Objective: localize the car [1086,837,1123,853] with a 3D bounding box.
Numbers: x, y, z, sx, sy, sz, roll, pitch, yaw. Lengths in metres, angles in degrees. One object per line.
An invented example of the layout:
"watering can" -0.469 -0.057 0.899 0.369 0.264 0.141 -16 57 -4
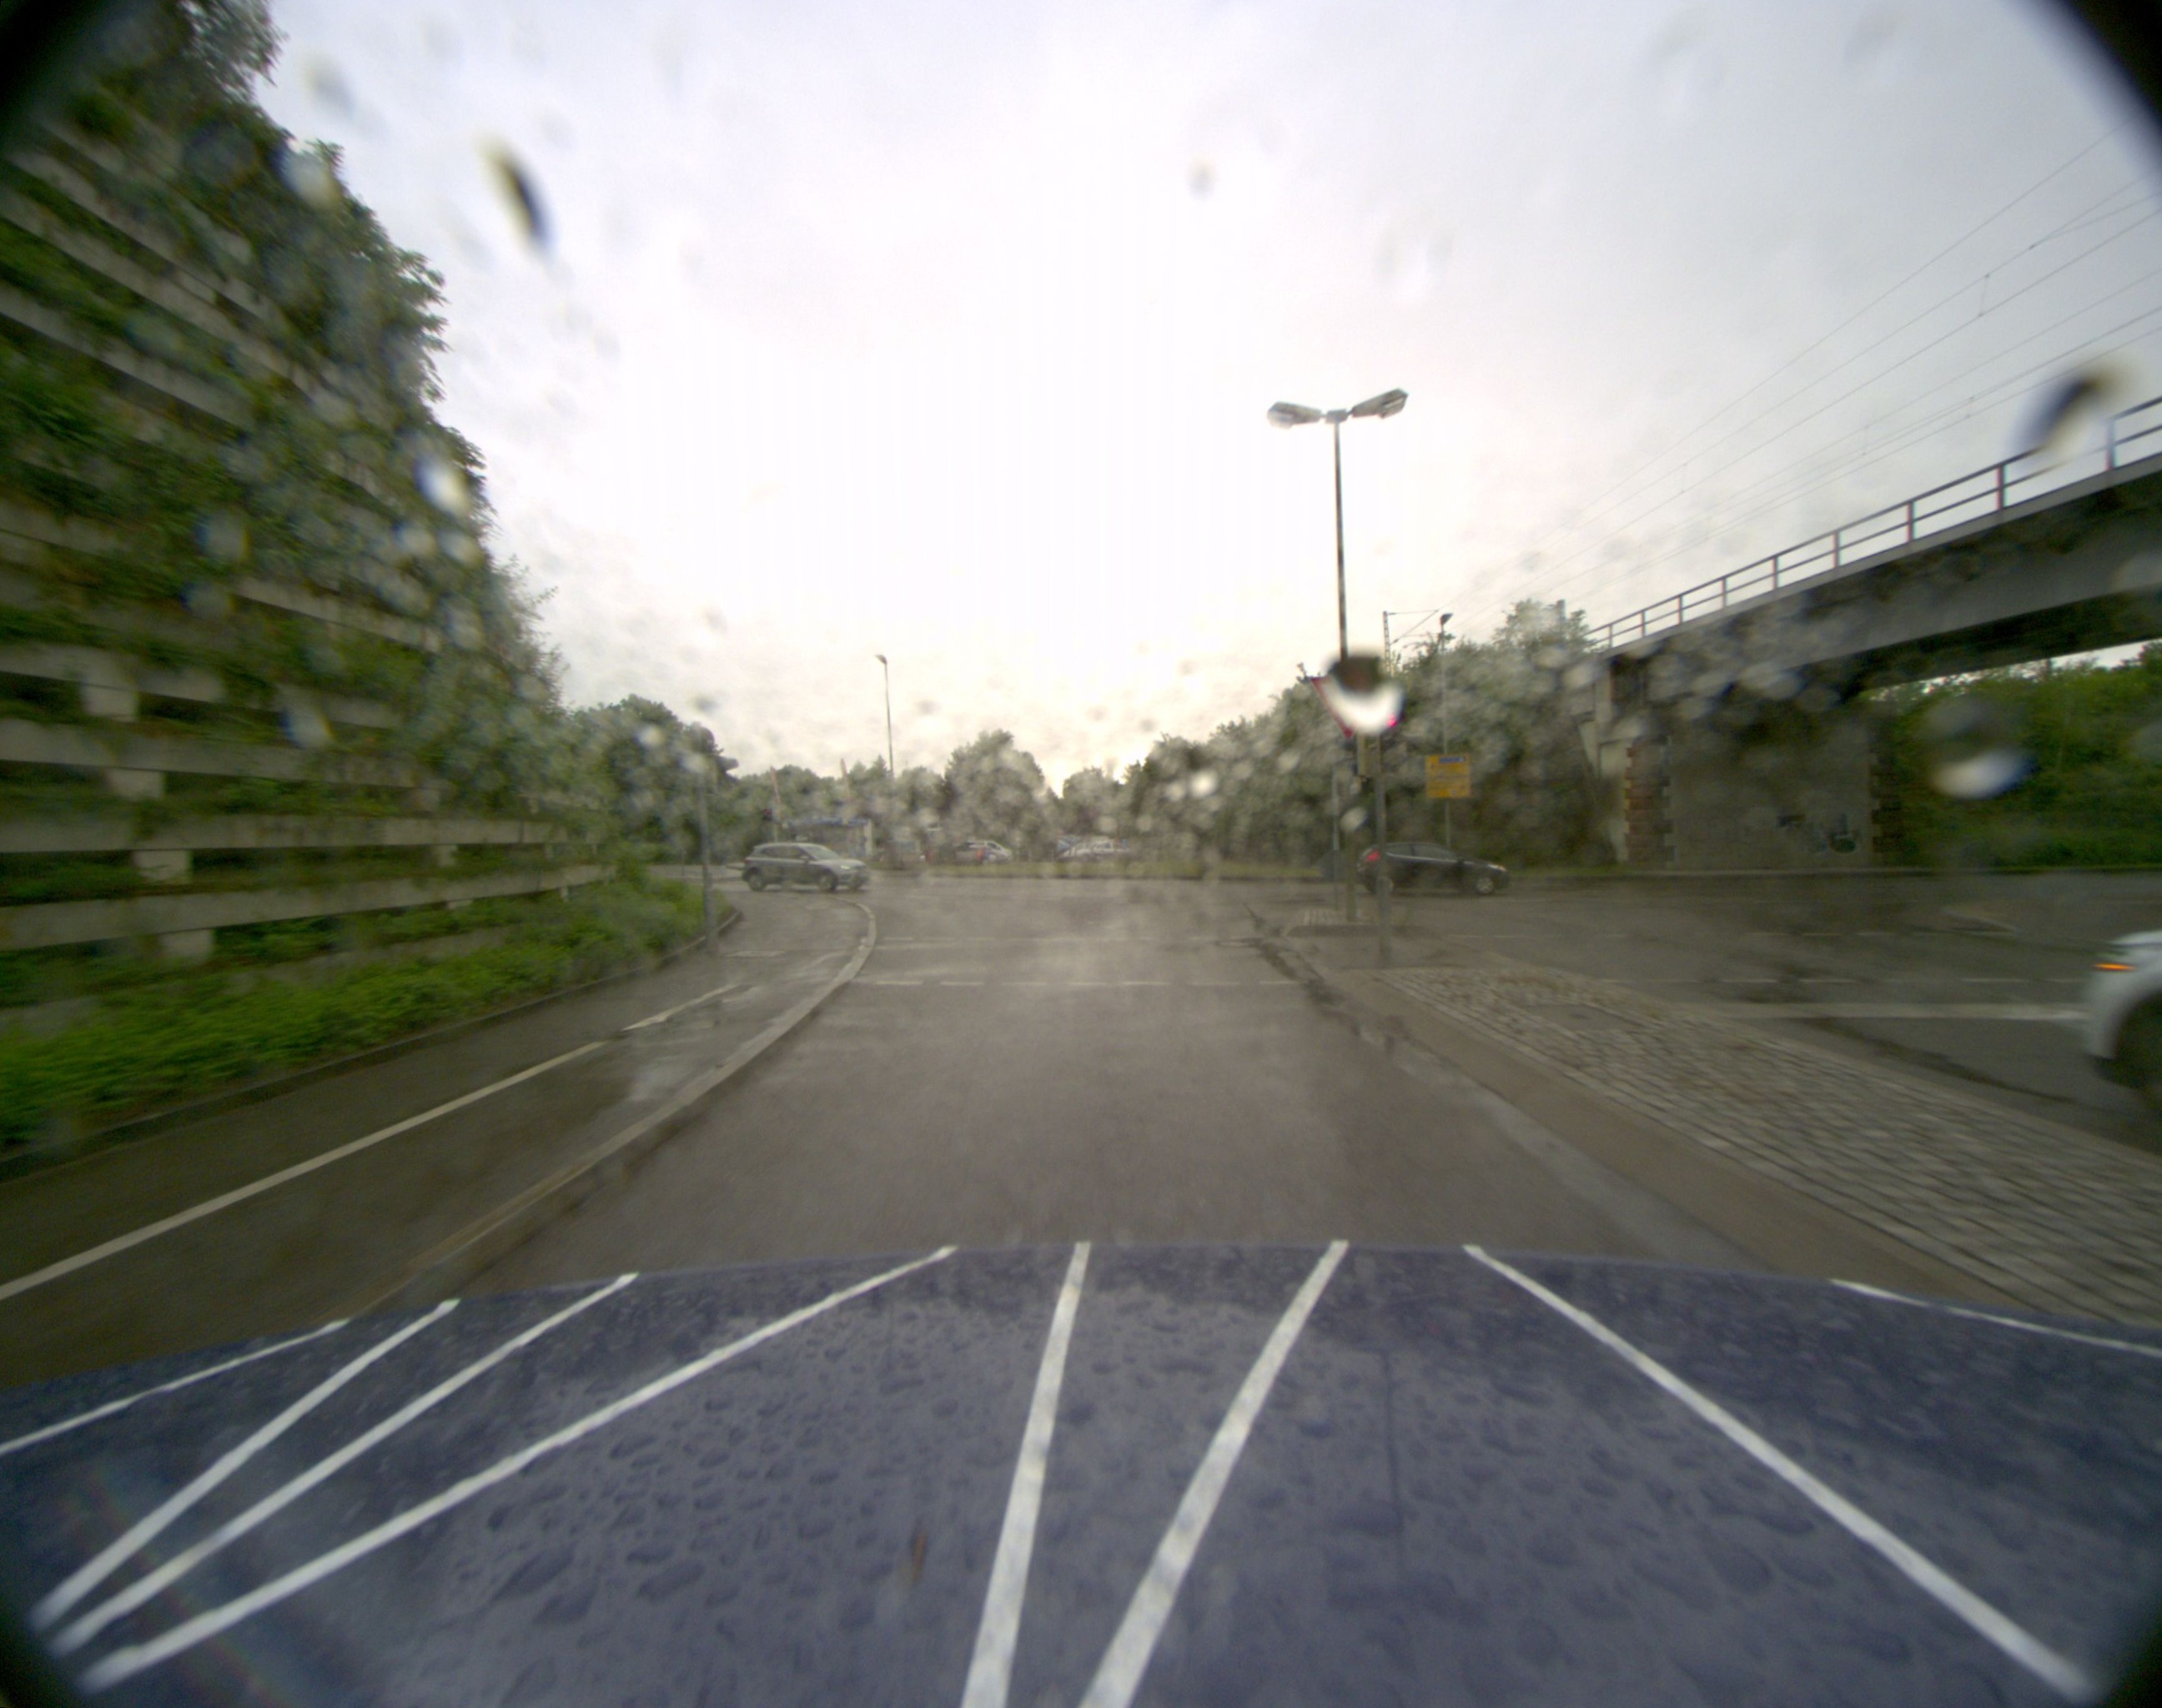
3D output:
"car" 2.246 -0.860 73.687 3.478 1.531 1.447 0 1 -1

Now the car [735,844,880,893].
"car" -8.786 0.425 24.475 4.146 1.499 1.684 0 1 14

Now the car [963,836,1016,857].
"car" -8.009 -0.659 67.011 4.386 1.756 1.921 0 1 2

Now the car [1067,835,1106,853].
"car" 0.568 -1.032 79.114 3.961 1.869 1.693 0 1 -3

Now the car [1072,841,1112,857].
"car" 1.110 -0.511 76.685 3.880 1.619 1.693 0 1 -3

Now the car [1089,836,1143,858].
"car" 2.513 -0.485 54.726 3.821 1.559 1.774 0 1 1

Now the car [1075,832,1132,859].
"car" 1.671 -0.648 57.108 4.232 1.969 1.904 0 1 1

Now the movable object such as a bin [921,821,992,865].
"movable object such as a bin" -8.090 -0.640 48.915 2.315 2.670 5.688 -1 0 -34

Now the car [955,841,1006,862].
"car" -7.827 -0.220 59.497 3.707 1.565 1.592 0 1 2

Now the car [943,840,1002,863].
"car" -7.788 -0.203 54.603 3.997 1.565 1.670 0 1 1

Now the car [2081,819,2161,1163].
"car" 5.784 0.637 1.735 1.873 1.592 4.001 -1 1 4

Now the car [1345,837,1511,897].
"car" 9.398 0.324 20.872 3.881 1.561 1.684 0 1 12

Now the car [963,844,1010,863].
"car" -7.703 -0.075 61.941 3.624 1.503 1.592 0 1 2
